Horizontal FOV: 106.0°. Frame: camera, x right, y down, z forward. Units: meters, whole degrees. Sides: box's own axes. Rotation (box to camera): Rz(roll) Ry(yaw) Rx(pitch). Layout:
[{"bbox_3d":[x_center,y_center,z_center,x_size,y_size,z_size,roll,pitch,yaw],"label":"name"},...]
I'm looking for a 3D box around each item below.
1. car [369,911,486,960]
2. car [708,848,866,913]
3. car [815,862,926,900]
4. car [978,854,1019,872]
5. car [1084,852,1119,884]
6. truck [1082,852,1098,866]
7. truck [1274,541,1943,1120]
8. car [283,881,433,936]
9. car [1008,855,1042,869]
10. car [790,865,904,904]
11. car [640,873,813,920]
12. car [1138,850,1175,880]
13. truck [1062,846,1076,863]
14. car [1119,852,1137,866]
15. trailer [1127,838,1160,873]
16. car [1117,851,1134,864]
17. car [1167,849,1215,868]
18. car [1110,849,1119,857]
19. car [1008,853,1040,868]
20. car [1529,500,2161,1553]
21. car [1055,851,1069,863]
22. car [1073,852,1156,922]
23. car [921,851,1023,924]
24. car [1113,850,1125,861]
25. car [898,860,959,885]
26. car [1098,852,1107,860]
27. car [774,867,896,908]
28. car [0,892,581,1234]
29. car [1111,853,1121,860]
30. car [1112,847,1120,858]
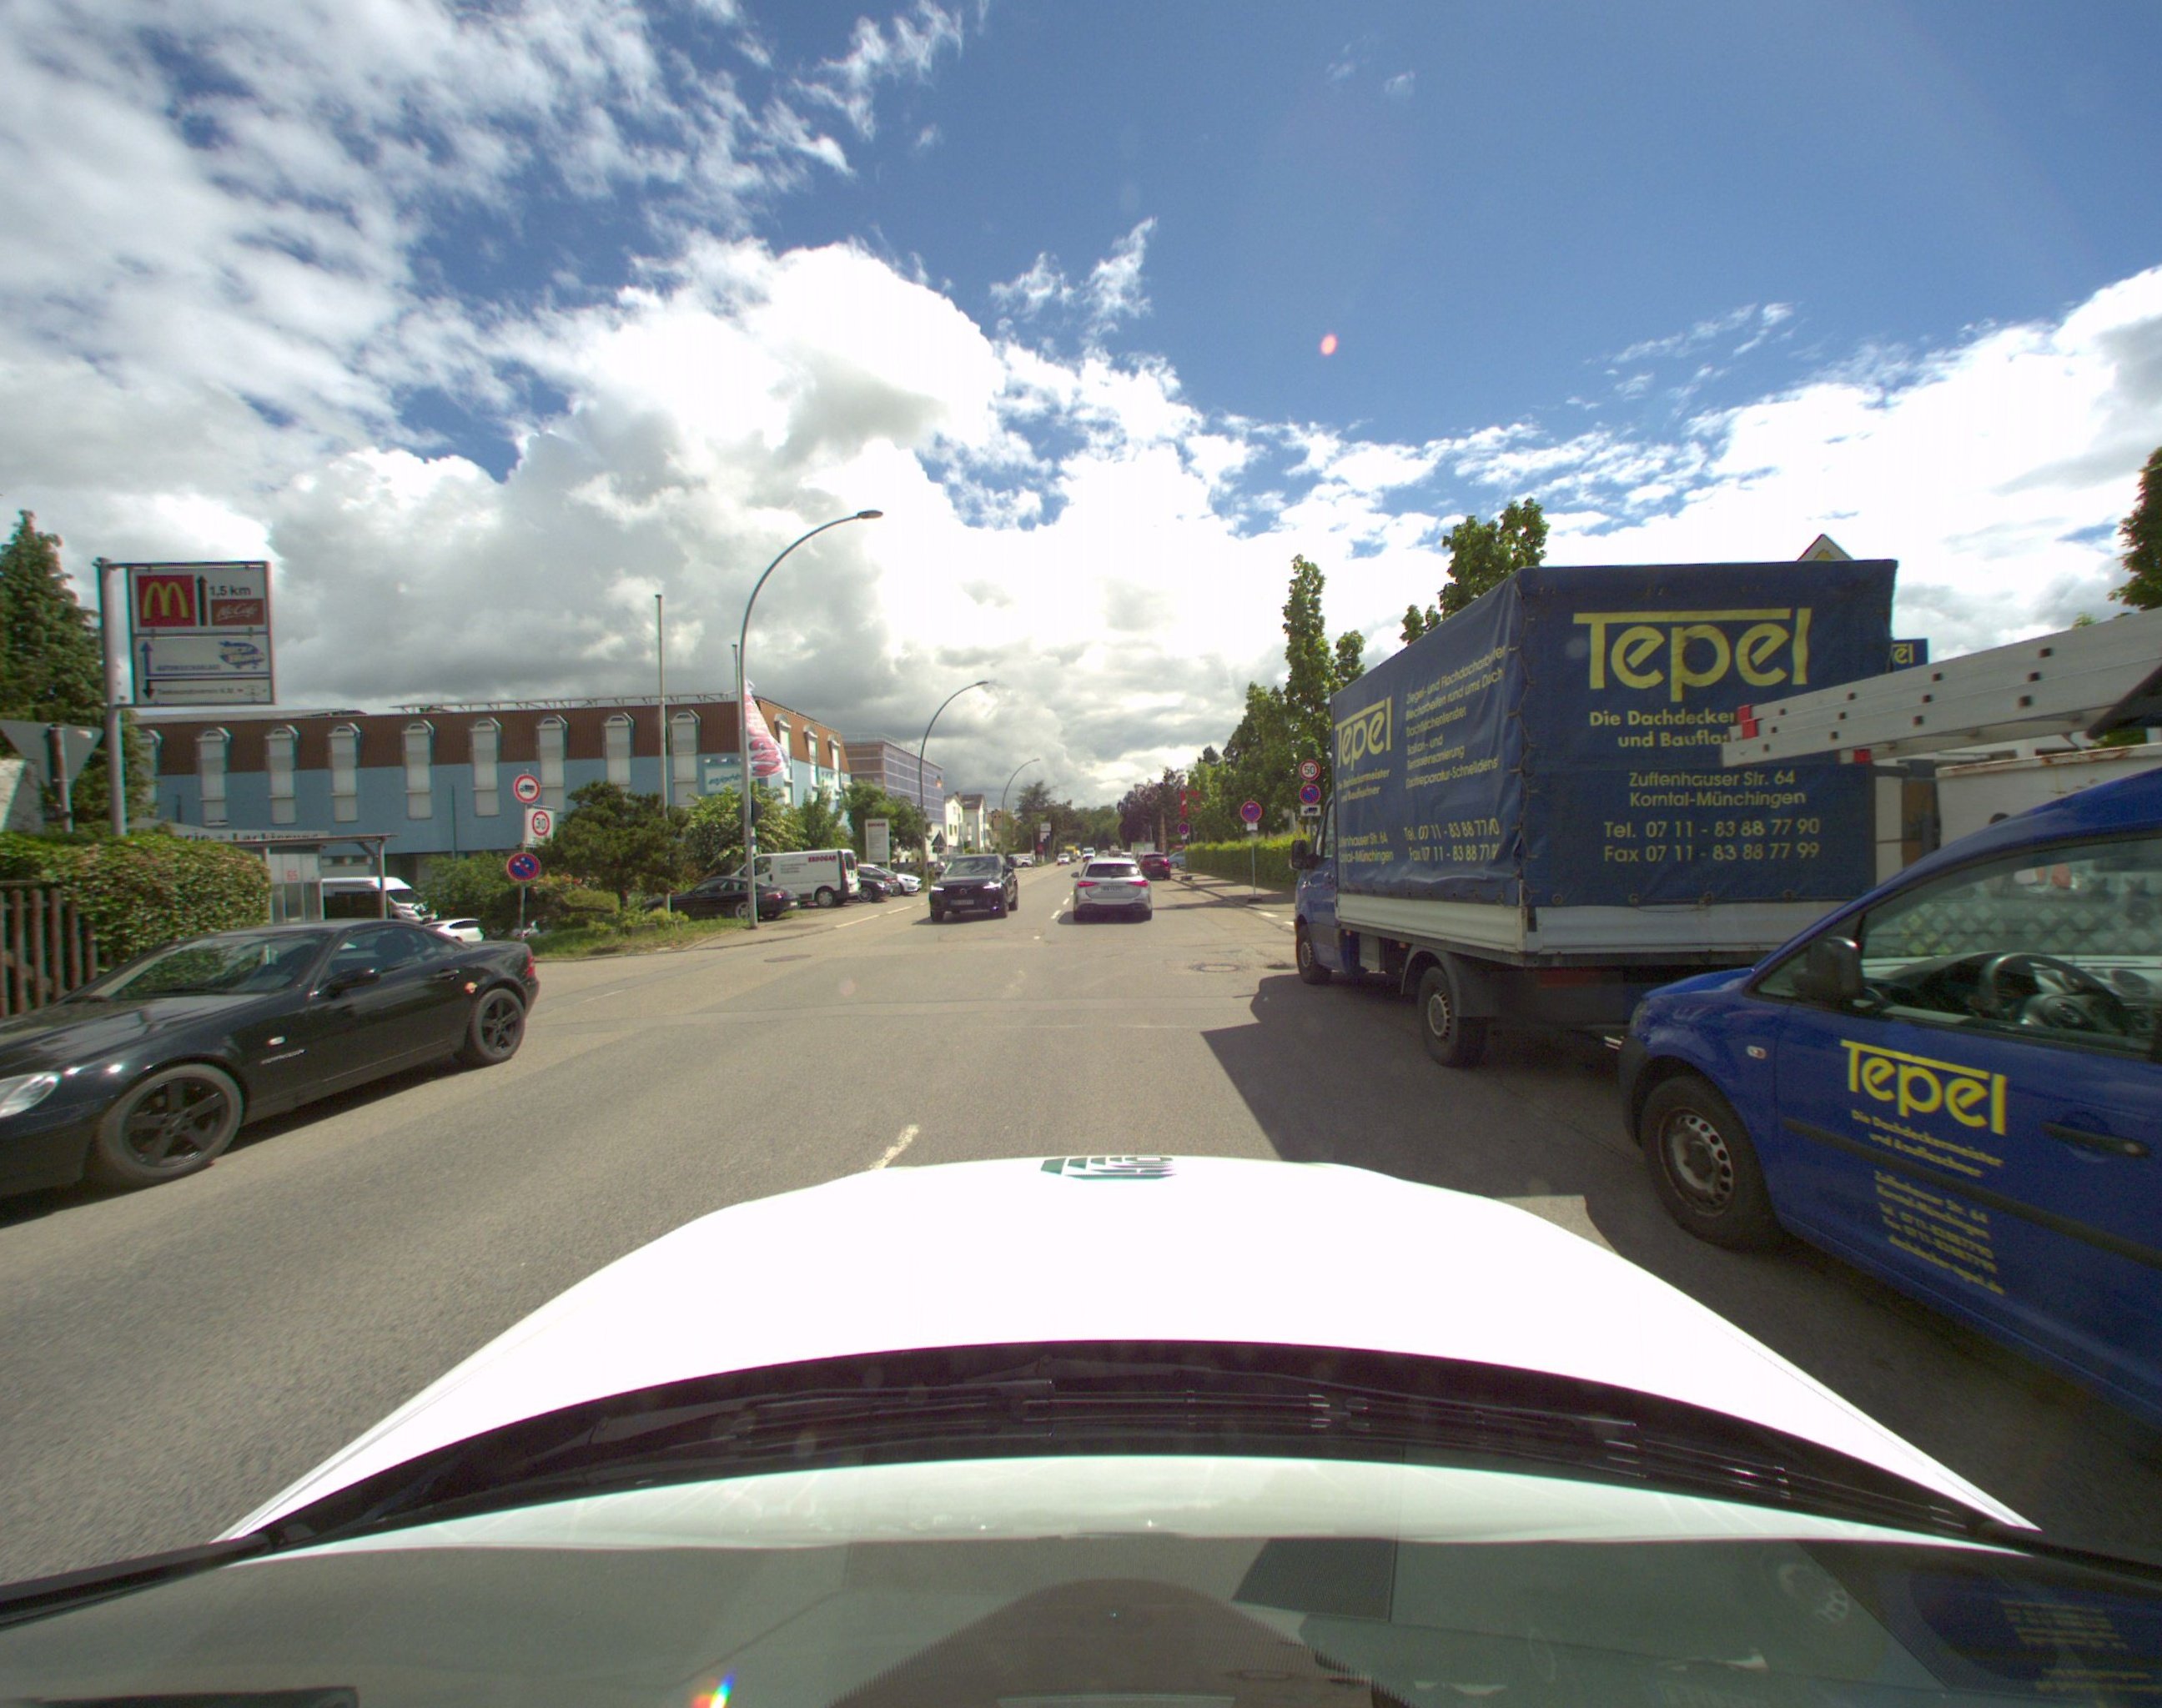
[{"bbox_3d":[-27.844,3.444,34.876,1.987,1.705,3.705,0,0,0],"label":"car"},{"bbox_3d":[-10.130,0.881,28.376,4.640,1.972,2.114,-2,0,-2],"label":"car"},{"bbox_3d":[-9.253,1.171,36.036,4.358,1.478,1.872,-2,-1,1],"label":"car"},{"bbox_3d":[-9.781,1.032,96.670,4.615,1.632,2.196,-5,1,-2],"label":"car"},{"bbox_3d":[1.096,0.710,43.605,1.750,1.558,4.001,-2,0,1],"label":"car"},{"bbox_3d":[1.560,0.766,135.562,2.309,2.178,6.455,-3,0,3],"label":"truck"},{"bbox_3d":[3.545,-0.143,7.398,2.312,3.097,6.045,0,0,2],"label":"truck"},{"bbox_3d":[-36.052,2.695,40.719,5.448,2.546,2.279,0,0,0],"label":"car"},{"bbox_3d":[-7.439,1.076,107.862,4.264,1.567,1.991,-3,-3,1],"label":"car"},{"bbox_3d":[-9.456,1.232,33.127,3.970,1.355,1.873,-2,0,3],"label":"car"},{"bbox_3d":[-9.767,1.159,22.669,3.974,1.204,1.871,0,0,-1],"label":"car"},{"bbox_3d":[4.368,0.595,47.736,1.933,1.571,4.450,-3,0,3],"label":"car"},{"bbox_3d":[-2.172,0.065,152.248,2.067,2.814,7.083,-3,0,3],"label":"truck"},{"bbox_3d":[5.438,0.536,94.838,1.786,1.450,4.361,-3,0,-1],"label":"car"},{"bbox_3d":[4.483,0.104,58.965,1.935,2.294,4.445,-3,0,0],"label":"trailer"},{"bbox_3d":[5.477,0.425,100.686,1.786,1.552,4.574,-3,0,1],"label":"car"},{"bbox_3d":[9.506,0.384,70.297,3.961,1.596,2.006,0,0,11],"label":"car"},{"bbox_3d":[7.250,-0.242,178.834,1.779,1.715,4.315,-1,0,0],"label":"car"},{"bbox_3d":[-7.935,0.919,113.259,4.265,1.836,1.991,-3,-3,0],"label":"car"},{"bbox_3d":[3.167,0.350,1.945,1.866,2.169,4.466,0,0,2],"label":"car"},{"bbox_3d":[-2.772,0.415,118.379,1.785,1.603,4.365,-3,0,1],"label":"car"},{"bbox_3d":[0.728,0.729,20.020,1.779,1.484,4.315,-1,0,0],"label":"car"},{"bbox_3d":[-2.769,0.800,21.697,1.987,1.615,4.411,-3,0,1],"label":"car"},{"bbox_3d":[7.074,0.239,153.763,2.136,1.984,5.263,-3,0,2],"label":"car"},{"bbox_3d":[-10.383,1.238,55.618,3.612,1.532,1.981,-2,0,3],"label":"car"},{"bbox_3d":[4.474,0.475,169.456,1.750,1.558,4.001,-2,0,1],"label":"car"},{"bbox_3d":[-9.254,1.248,30.888,3.974,1.315,1.871,-2,-1,0],"label":"car"},{"bbox_3d":[-5.602,1.100,5.667,1.626,1.303,4.115,-5,0,-1],"label":"car"},{"bbox_3d":[7.442,0.476,172.420,1.779,1.484,4.315,-1,0,0],"label":"car"},{"bbox_3d":[8.208,-0.435,191.221,1.779,2.518,4.315,-1,0,0],"label":"car"}]
